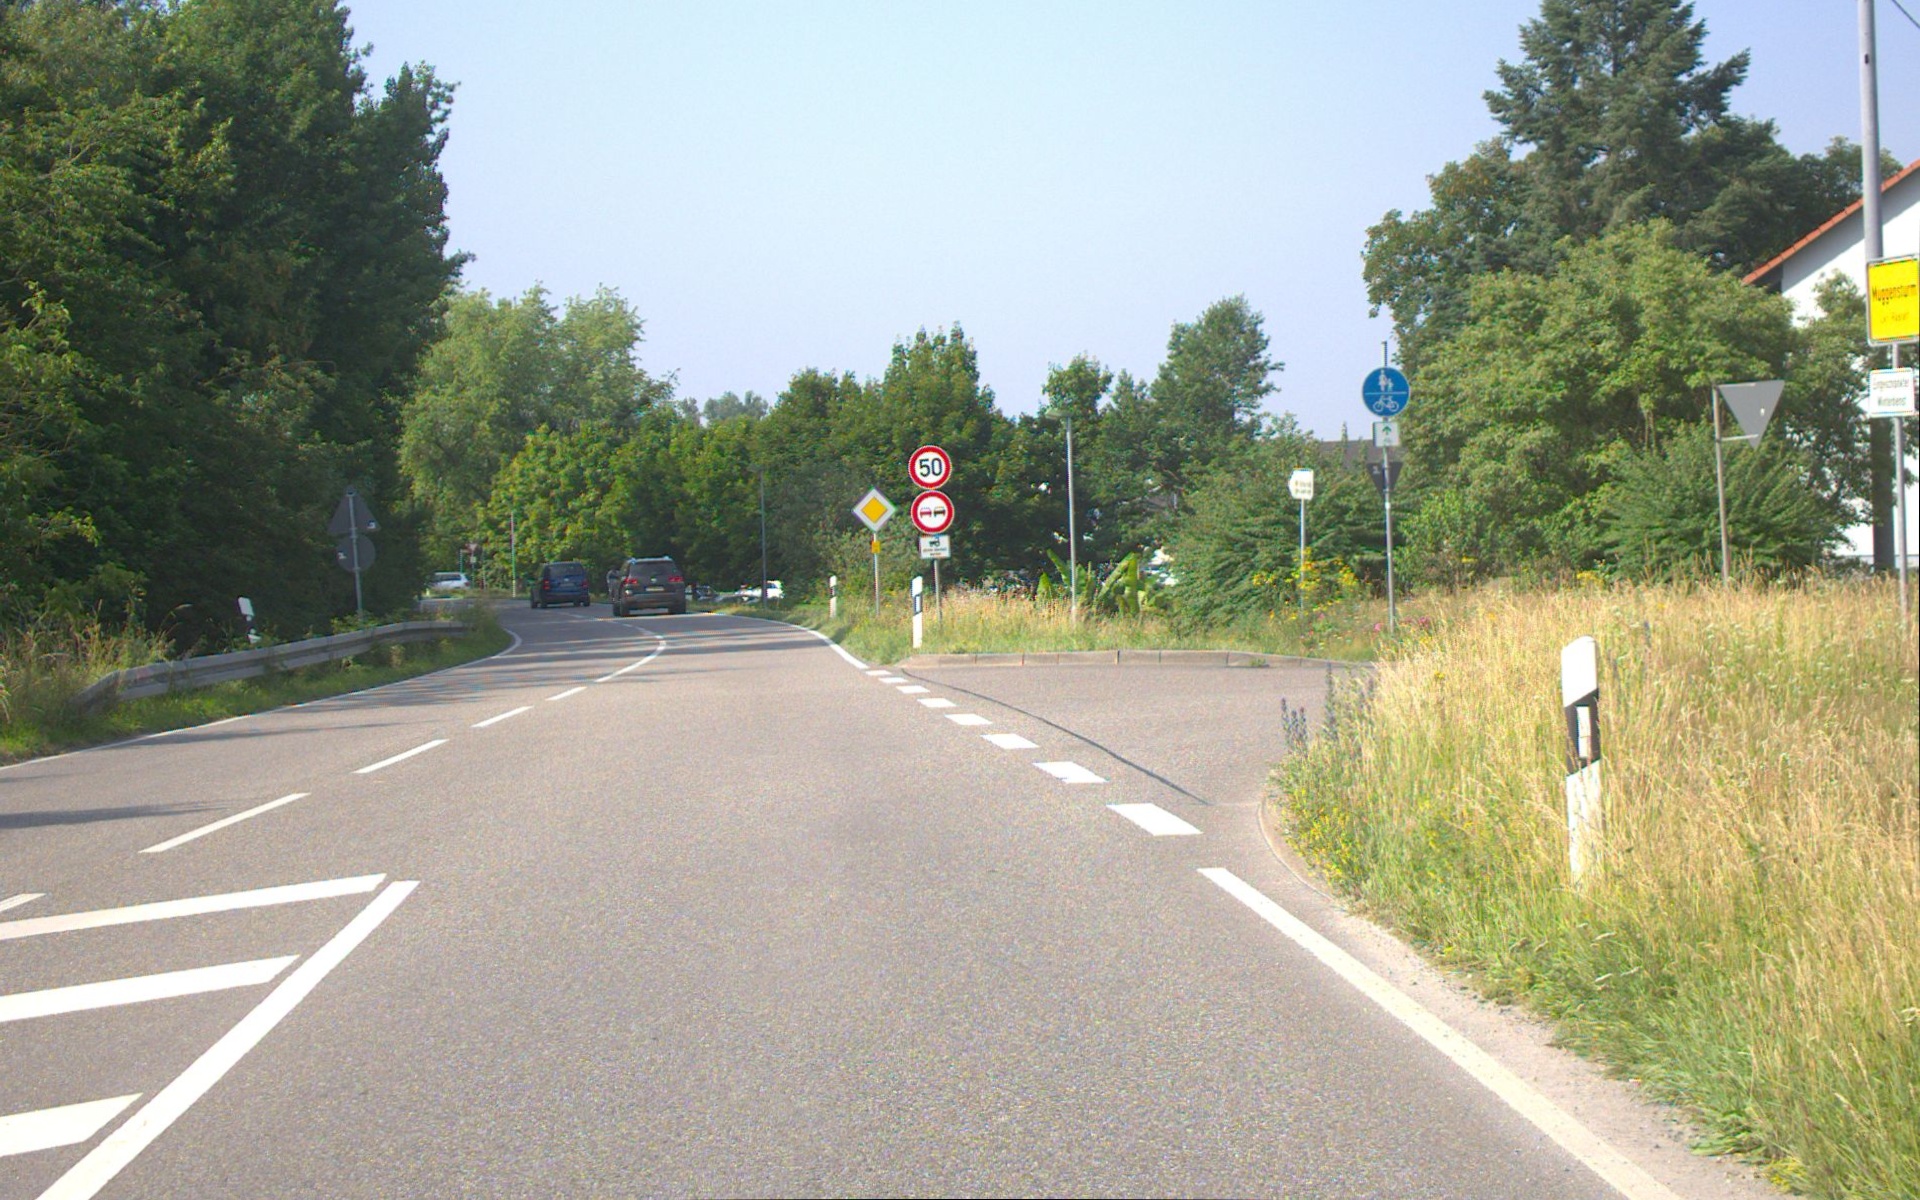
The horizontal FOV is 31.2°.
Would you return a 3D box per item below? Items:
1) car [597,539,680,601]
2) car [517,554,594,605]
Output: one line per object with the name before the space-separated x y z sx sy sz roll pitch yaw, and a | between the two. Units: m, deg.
car | -9.501 -0.908 101.363 1.924 1.765 4.001 -1 1 -12
car | -14.560 -0.750 123.527 2.003 1.765 4.001 -1 1 -18
